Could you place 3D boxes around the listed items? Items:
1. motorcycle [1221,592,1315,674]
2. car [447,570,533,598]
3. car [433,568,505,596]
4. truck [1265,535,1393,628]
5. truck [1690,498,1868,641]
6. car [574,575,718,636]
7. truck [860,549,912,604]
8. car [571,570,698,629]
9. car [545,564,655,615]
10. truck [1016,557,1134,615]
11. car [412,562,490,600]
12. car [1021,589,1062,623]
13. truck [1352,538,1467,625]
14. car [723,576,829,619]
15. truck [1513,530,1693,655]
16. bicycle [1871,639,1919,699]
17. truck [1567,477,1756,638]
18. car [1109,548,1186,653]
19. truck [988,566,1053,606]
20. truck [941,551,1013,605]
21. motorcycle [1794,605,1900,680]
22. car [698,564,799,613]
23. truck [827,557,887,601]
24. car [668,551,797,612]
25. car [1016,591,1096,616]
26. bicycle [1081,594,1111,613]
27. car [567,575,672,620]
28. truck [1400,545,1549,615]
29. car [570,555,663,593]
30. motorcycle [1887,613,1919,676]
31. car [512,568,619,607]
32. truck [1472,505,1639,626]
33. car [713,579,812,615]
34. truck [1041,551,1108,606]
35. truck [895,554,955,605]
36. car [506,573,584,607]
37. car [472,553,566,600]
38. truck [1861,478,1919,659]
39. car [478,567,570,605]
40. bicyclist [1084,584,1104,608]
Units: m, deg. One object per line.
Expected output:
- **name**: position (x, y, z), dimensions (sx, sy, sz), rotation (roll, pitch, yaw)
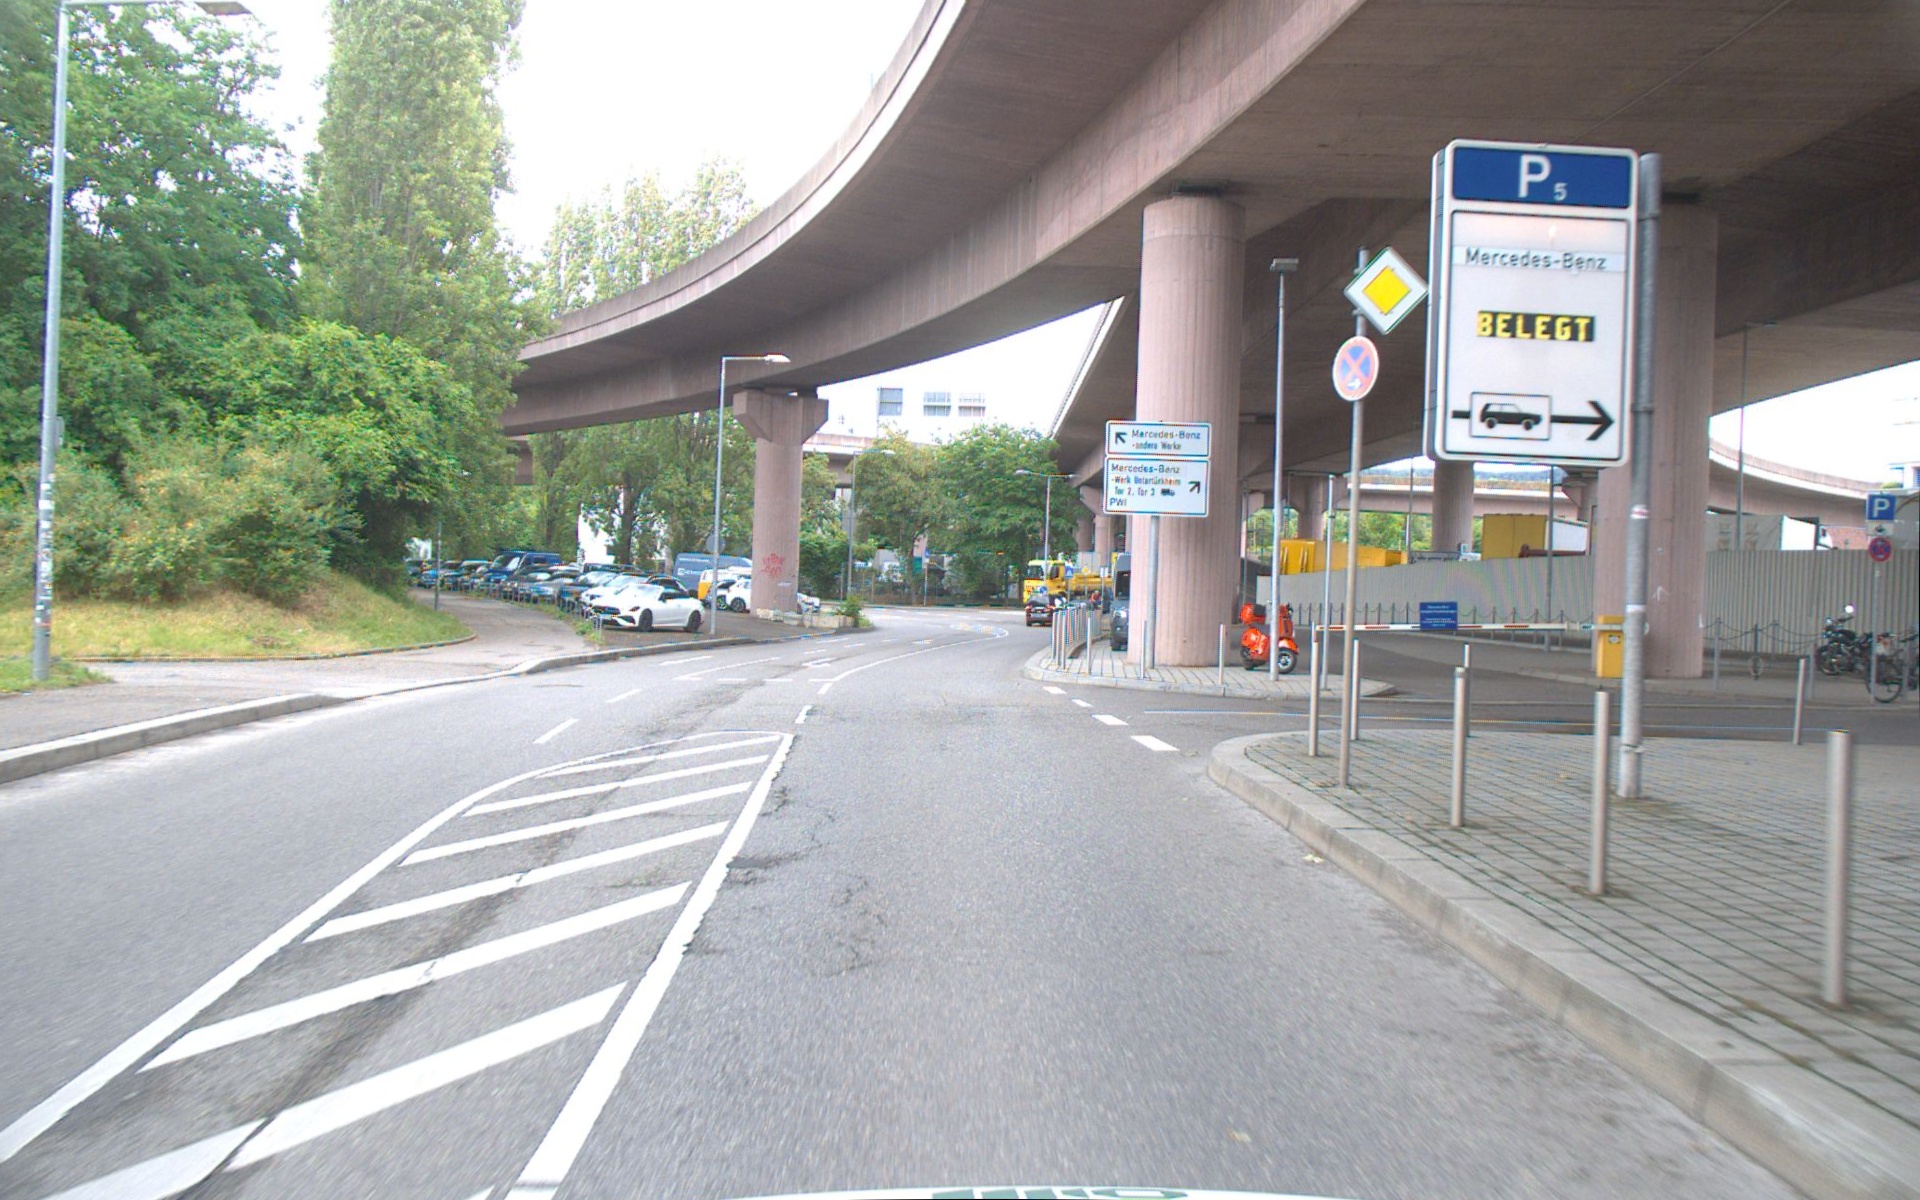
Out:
- **motorcycle**: position (5.491, 0.563, 29.622), dimensions (0.783, 1.390, 2.120), rotation (0, 1, -16)
- **car**: position (-25.375, -0.863, 89.399), dimensions (1.954, 1.460, 4.643), rotation (0, 0, 24)
- **car**: position (-27.368, -0.982, 92.348), dimensions (1.752, 1.500, 3.886), rotation (1, 0, 23)
- **truck**: position (20.930, -0.996, 93.461), dimensions (3.093, 5.003, 8.662), rotation (2, 0, 42)
- **truck**: position (26.707, -0.916, 53.635), dimensions (2.763, 4.231, 9.873), rotation (0, 0, 41)
- **car**: position (-9.497, 0.195, 50.442), dimensions (1.953, 1.505, 4.828), rotation (6, 0, 21)
- **truck**: position (-6.911, -2.242, 153.744), dimensions (3.150, 4.863, 8.017), rotation (0, 2, -15)
- **car**: position (-10.668, 0.023, 54.520), dimensions (1.954, 1.610, 4.400), rotation (6, 0, 21)
- **car**: position (-13.255, -0.374, 61.108), dimensions (1.820, 1.721, 4.162), rotation (2, 0, 24)
- **truck**: position (7.825, -1.010, 111.651), dimensions (8.169, 3.540, 2.895), rotation (-1, 5, -41)
- **car**: position (-29.015, -1.100, 94.473), dimensions (1.804, 1.831, 4.301), rotation (0, 5, 24)
- **car**: position (4.349, 0.319, 88.759), dimensions (1.953, 1.708, 4.560), rotation (2, 0, 0)
- **truck**: position (27.437, -1.065, 100.620), dimensions (3.093, 4.989, 8.662), rotation (2, 0, 42)
- **car**: position (-8.344, -0.135, 75.112), dimensions (4.288, 1.633, 1.956), rotation (4, 1, 13)
- **truck**: position (23.968, -0.269, 61.264), dimensions (2.847, 4.256, 10.003), rotation (0, 0, 42)
- **bicycle**: position (15.930, 1.135, 26.998), dimensions (1.975, 0.942, 0.418), rotation (1, 1, -9)
- **truck**: position (23.986, -1.349, 56.211), dimensions (3.091, 5.010, 9.670), rotation (0, 0, 41)
- **car**: position (5.086, -0.009, 45.516), dimensions (1.951, 2.658, 6.078), rotation (1, 0, 5)
- **truck**: position (4.751, -1.143, 130.871), dimensions (2.872, 2.949, 6.520), rotation (0, 2, -20)
- **truck**: position (1.272, -1.790, 129.362), dimensions (3.021, 3.934, 8.002), rotation (0, 2, -20)
- **motorcycle**: position (16.681, 0.776, 31.181), dimensions (0.765, 1.256, 2.538), rotation (1, 2, 4)
- **car**: position (-10.315, -0.548, 80.702), dimensions (4.459, 2.148, 1.852), rotation (3, 0, 9)
- **truck**: position (-9.400, -1.918, 150.077), dimensions (3.013, 3.681, 7.864), rotation (1, 2, -22)
- **car**: position (-11.479, -0.949, 83.696), dimensions (6.047, 2.772, 2.369), rotation (3, 1, 2)
- **car**: position (6.140, 0.226, 105.232), dimensions (4.877, 1.528, 2.146), rotation (0, 1, -36)
- **bicycle**: position (8.138, 0.178, 99.004), dimensions (0.793, 1.117, 2.110), rotation (0, 0, -30)
- **car**: position (-11.930, -0.080, 58.138), dimensions (1.751, 1.479, 3.745), rotation (2, 0, 24)
- **truck**: position (24.029, -0.951, 76.988), dimensions (3.094, 2.995, 8.660), rotation (-2, -1, 43)
- **car**: position (-20.697, -1.543, 99.836), dimensions (4.982, 2.108, 2.260), rotation (1, -1, 4)
- **motorcycle**: position (18.511, 0.886, 31.390), dimensions (0.531, 1.124, 2.330), rotation (1, 3, 1)
- **car**: position (-16.849, -0.513, 70.834), dimensions (1.820, 1.513, 4.886), rotation (4, 2, 24)
- **truck**: position (24.119, -1.305, 66.633), dimensions (3.091, 4.521, 9.670), rotation (0, 0, 41)
- **car**: position (-9.289, -0.143, 78.098), dimensions (4.154, 1.395, 2.002), rotation (4, 1, 11)
- **truck**: position (9.580, -1.896, 139.360), dimensions (3.016, 4.374, 8.015), rotation (0, 2, -16)
- **truck**: position (-2.890, -1.619, 134.191), dimensions (3.019, 4.032, 6.885), rotation (0, 0, -19)
- **car**: position (-18.436, -0.441, 73.604), dimensions (1.609, 1.466, 3.737), rotation (0, 0, 18)
- **car**: position (-22.398, -1.162, 84.268), dimensions (2.074, 2.294, 5.018), rotation (0, 0, 21)
- **truck**: position (26.678, -0.761, 43.504), dimensions (2.960, 4.379, 10.234), rotation (0, 0, 42)
- **car**: position (-20.067, -0.634, 76.261), dimensions (1.858, 1.705, 4.150), rotation (0, 0, 26)
- **bicyclist**: position (8.027, -0.249, 99.204), dimensions (0.787, 1.430, 1.056), rotation (0, 0, -30)
